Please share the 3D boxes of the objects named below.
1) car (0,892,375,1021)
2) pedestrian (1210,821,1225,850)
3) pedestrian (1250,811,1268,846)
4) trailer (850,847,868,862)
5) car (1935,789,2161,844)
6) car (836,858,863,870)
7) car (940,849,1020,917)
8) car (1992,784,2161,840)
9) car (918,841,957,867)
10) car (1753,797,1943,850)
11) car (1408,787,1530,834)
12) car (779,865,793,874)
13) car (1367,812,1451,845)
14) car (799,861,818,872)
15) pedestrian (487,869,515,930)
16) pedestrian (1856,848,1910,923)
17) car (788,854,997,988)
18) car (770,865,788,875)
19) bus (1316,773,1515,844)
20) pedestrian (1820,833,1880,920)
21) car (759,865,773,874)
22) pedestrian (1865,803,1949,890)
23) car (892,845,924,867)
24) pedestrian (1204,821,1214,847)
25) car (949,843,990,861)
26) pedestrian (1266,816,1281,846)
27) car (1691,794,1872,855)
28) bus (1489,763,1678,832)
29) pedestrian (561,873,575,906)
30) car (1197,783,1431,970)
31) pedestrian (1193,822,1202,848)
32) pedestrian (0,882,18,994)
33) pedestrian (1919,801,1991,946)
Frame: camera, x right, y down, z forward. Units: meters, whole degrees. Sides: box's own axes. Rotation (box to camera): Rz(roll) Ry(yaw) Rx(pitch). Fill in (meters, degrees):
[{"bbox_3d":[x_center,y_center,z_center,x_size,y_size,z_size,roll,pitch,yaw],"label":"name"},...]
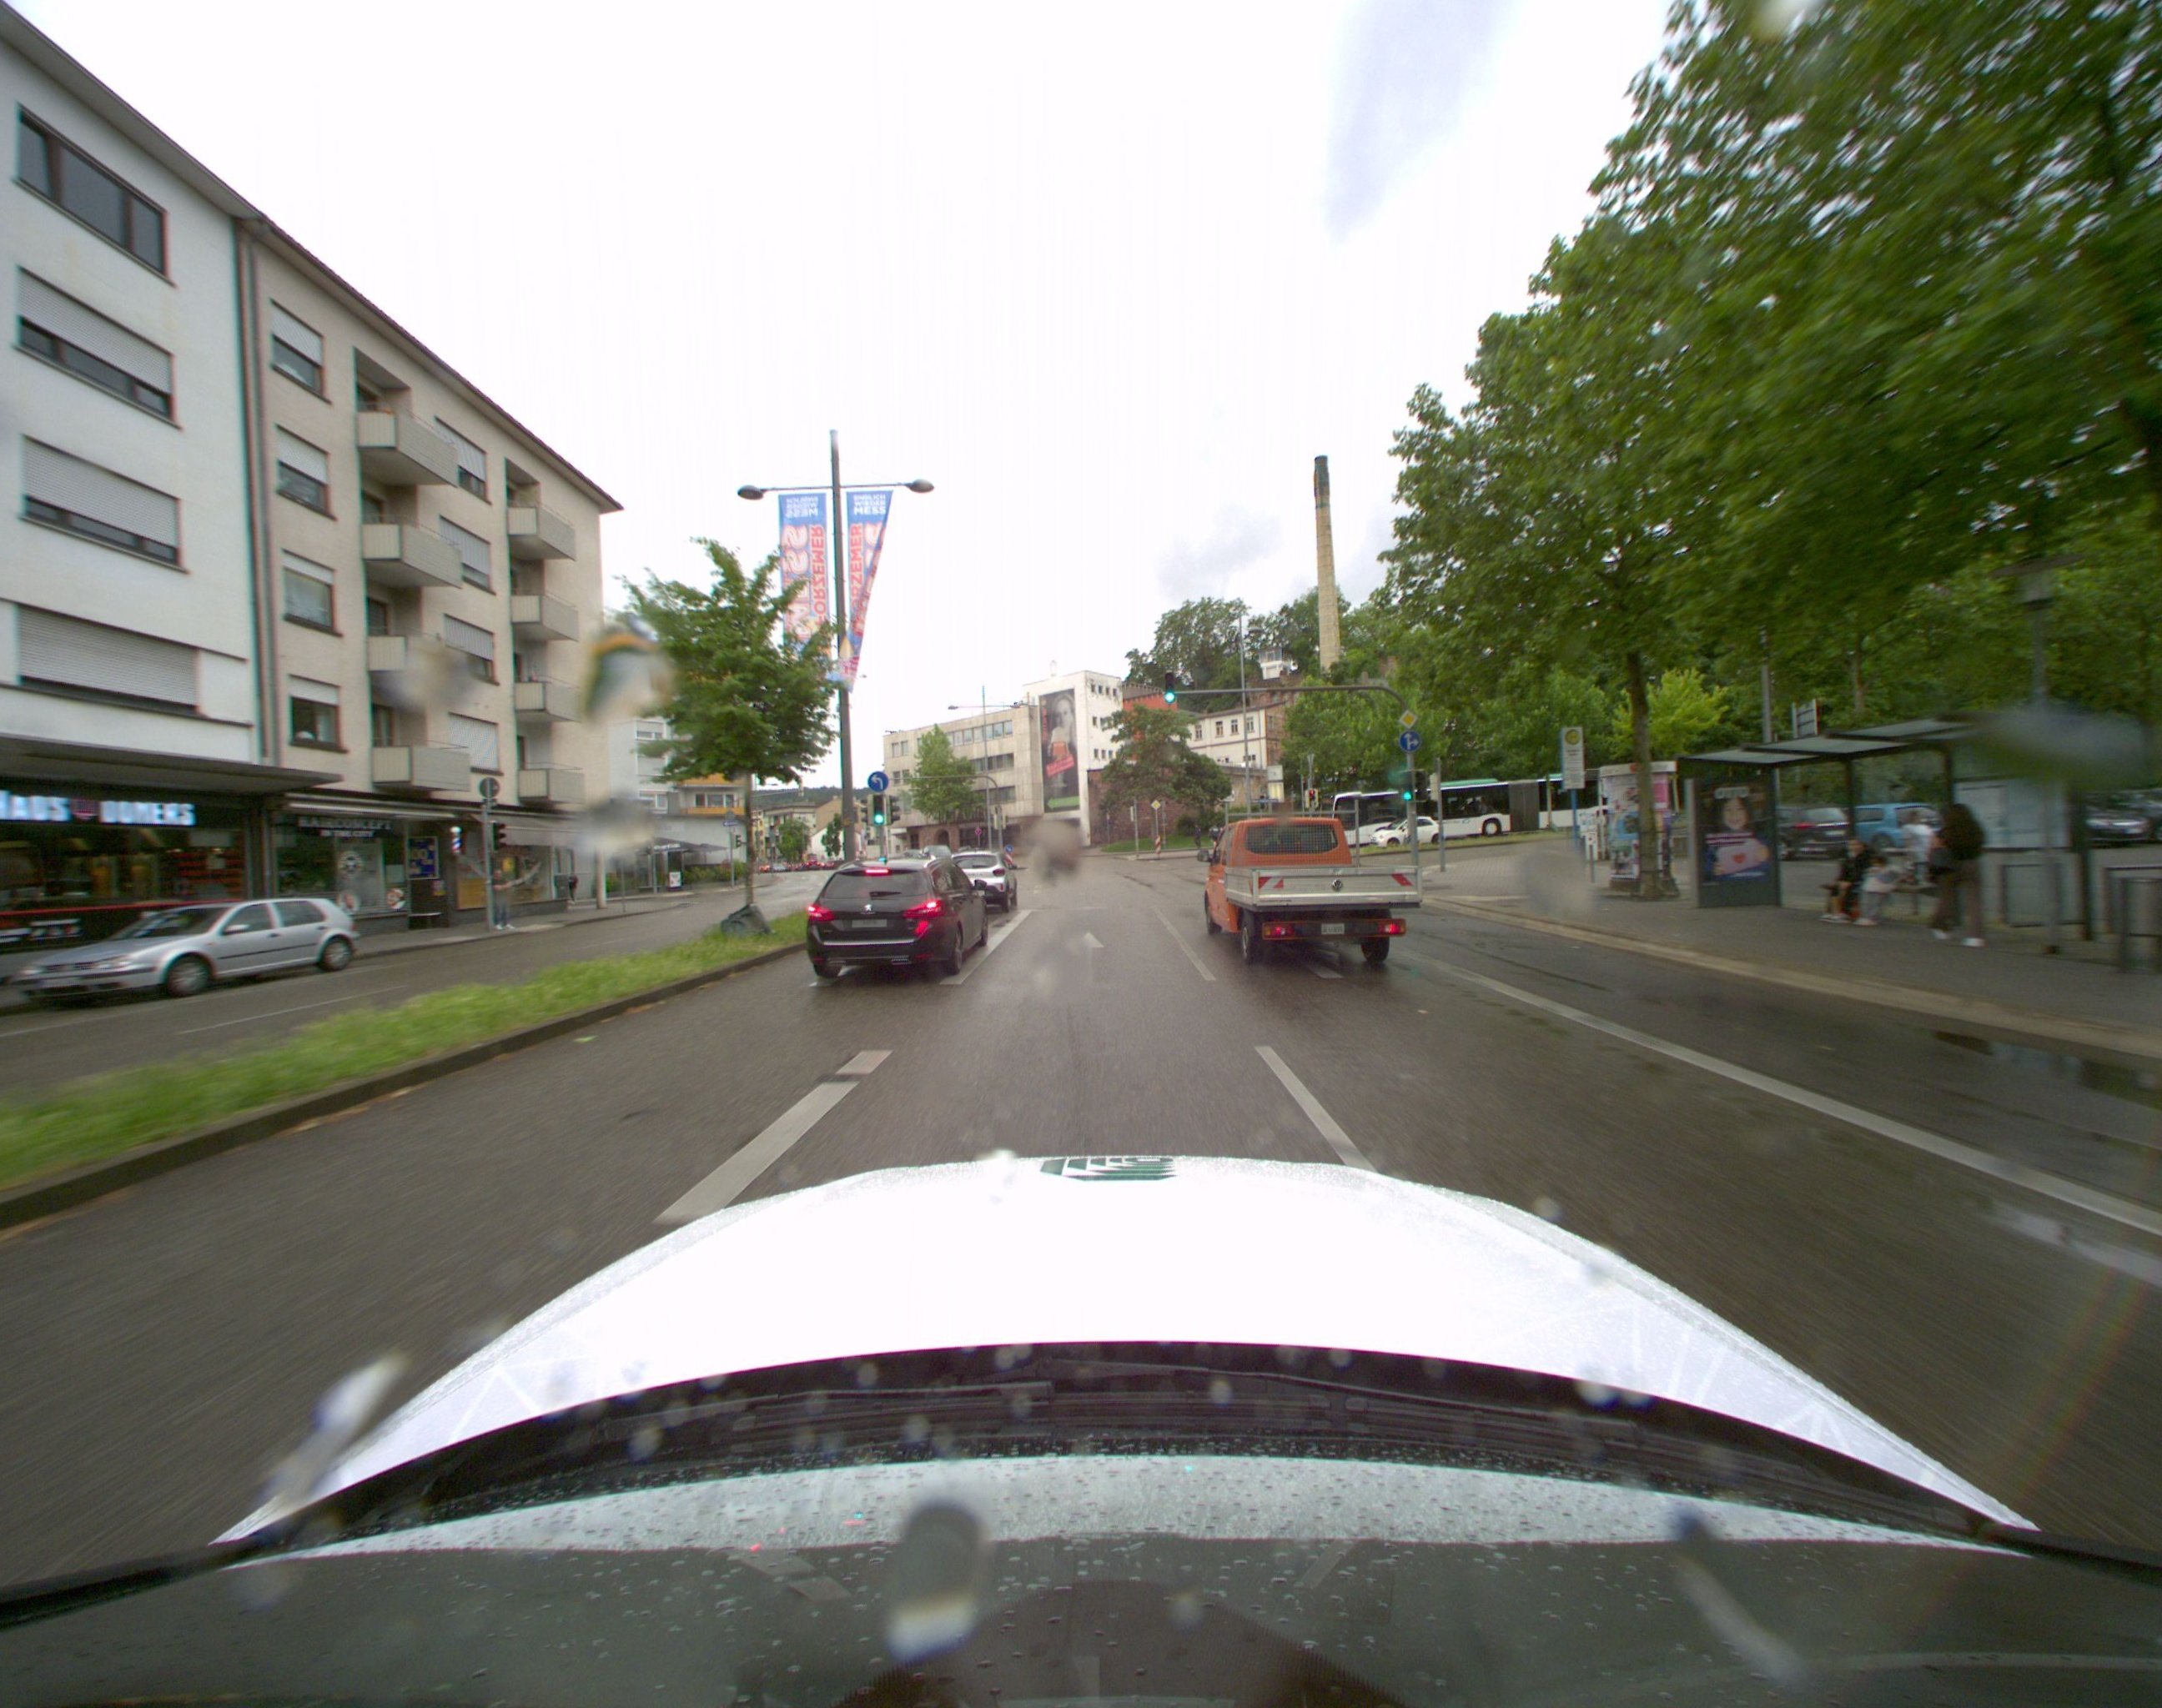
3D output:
[{"bbox_3d":[-14.224,1.511,13.344,1.672,1.391,4.148,-5,1,-3],"label":"car"},{"bbox_3d":[8.778,-1.208,52.406,0.876,1.831,0.729,-2,0,2],"label":"pedestrian"},{"bbox_3d":[10.682,-1.541,48.855,0.777,2.013,0.592,-3,2,37],"label":"pedestrian"},{"bbox_3d":[-43.121,0.165,157.953,2.138,2.715,5.345,-6,2,-26],"label":"trailer"},{"bbox_3d":[27.781,-1.025,23.459,1.846,1.354,4.260,-3,1,-2],"label":"car"},{"bbox_3d":[-29.491,1.313,103.659,1.680,1.396,3.819,-4,2,-44],"label":"car"},{"bbox_3d":[-2.452,0.654,20.467,1.532,1.461,3.628,-3,1,-1],"label":"car"},{"bbox_3d":[30.147,-1.218,23.960,1.846,1.479,4.260,-3,1,-2],"label":"car"},{"bbox_3d":[-9.885,-0.016,55.842,1.763,1.614,4.181,-4,2,-22],"label":"car"},{"bbox_3d":[23.867,-0.924,25.596,1.846,1.440,4.260,-3,1,-2],"label":"car"},{"bbox_3d":[23.262,-2.567,49.168,6.271,2.234,2.266,-4,1,18],"label":"car"},{"bbox_3d":[-50.209,2.571,138.369,1.675,1.396,3.832,-3,2,-28],"label":"car"},{"bbox_3d":[16.359,-1.286,40.692,3.547,1.451,1.590,-3,2,-1],"label":"car"},{"bbox_3d":[-38.447,1.815,114.761,1.677,1.396,3.827,-3,2,-33],"label":"car"},{"bbox_3d":[-16.928,1.316,23.779,0.450,1.730,0.524,1,1,1],"label":"pedestrian"},{"bbox_3d":[11.640,0.451,11.826,0.399,1.034,0.371,-3,1,1],"label":"pedestrian"},{"bbox_3d":[-2.341,0.750,11.336,1.793,1.434,4.397,-2,0,1],"label":"car"},{"bbox_3d":[-44.884,2.390,120.933,1.743,1.439,4.371,-4,0,-29],"label":"car"},{"bbox_3d":[17.961,-2.423,44.080,9.595,3.216,2.705,-3,2,0],"label":"bus"},{"bbox_3d":[11.599,0.331,12.294,0.497,1.271,0.402,-3,1,1],"label":"pedestrian"},{"bbox_3d":[-61.696,3.024,159.565,1.964,1.396,3.832,-3,2,-28],"label":"car"},{"bbox_3d":[16.232,-0.159,16.029,0.762,1.632,0.861,-3,2,0],"label":"pedestrian"},{"bbox_3d":[-14.238,0.127,66.783,1.763,1.614,4.181,-4,2,-22],"label":"car"},{"bbox_3d":[8.202,-1.274,52.357,0.563,1.615,0.692,-1,-1,4],"label":"pedestrian"},{"bbox_3d":[-9.985,-0.179,72.522,1.802,1.403,4.586,-2,0,-33],"label":"car"},{"bbox_3d":[11.542,-1.377,48.918,0.559,1.705,0.524,-6,2,-28],"label":"pedestrian"},{"bbox_3d":[21.299,-0.859,25.024,1.795,1.612,4.260,-3,1,-2],"label":"car"},{"bbox_3d":[27.010,-3.030,44.039,8.501,3.179,2.689,-3,2,1],"label":"bus"},{"bbox_3d":[-25.675,1.778,40.776,0.531,1.651,0.596,0,-3,-40],"label":"pedestrian"},{"bbox_3d":[3.072,0.253,12.136,2.093,2.089,5.545,-2,0,3],"label":"car"},{"bbox_3d":[8.111,-1.339,56.719,0.593,1.781,0.658,-1,-1,11],"label":"pedestrian"},{"bbox_3d":[-17.132,1.310,12.488,0.775,1.729,0.660,1,1,0],"label":"pedestrian"},{"bbox_3d":[10.634,0.218,9.905,0.558,1.695,0.535,-4,2,-39],"label":"pedestrian"}]
